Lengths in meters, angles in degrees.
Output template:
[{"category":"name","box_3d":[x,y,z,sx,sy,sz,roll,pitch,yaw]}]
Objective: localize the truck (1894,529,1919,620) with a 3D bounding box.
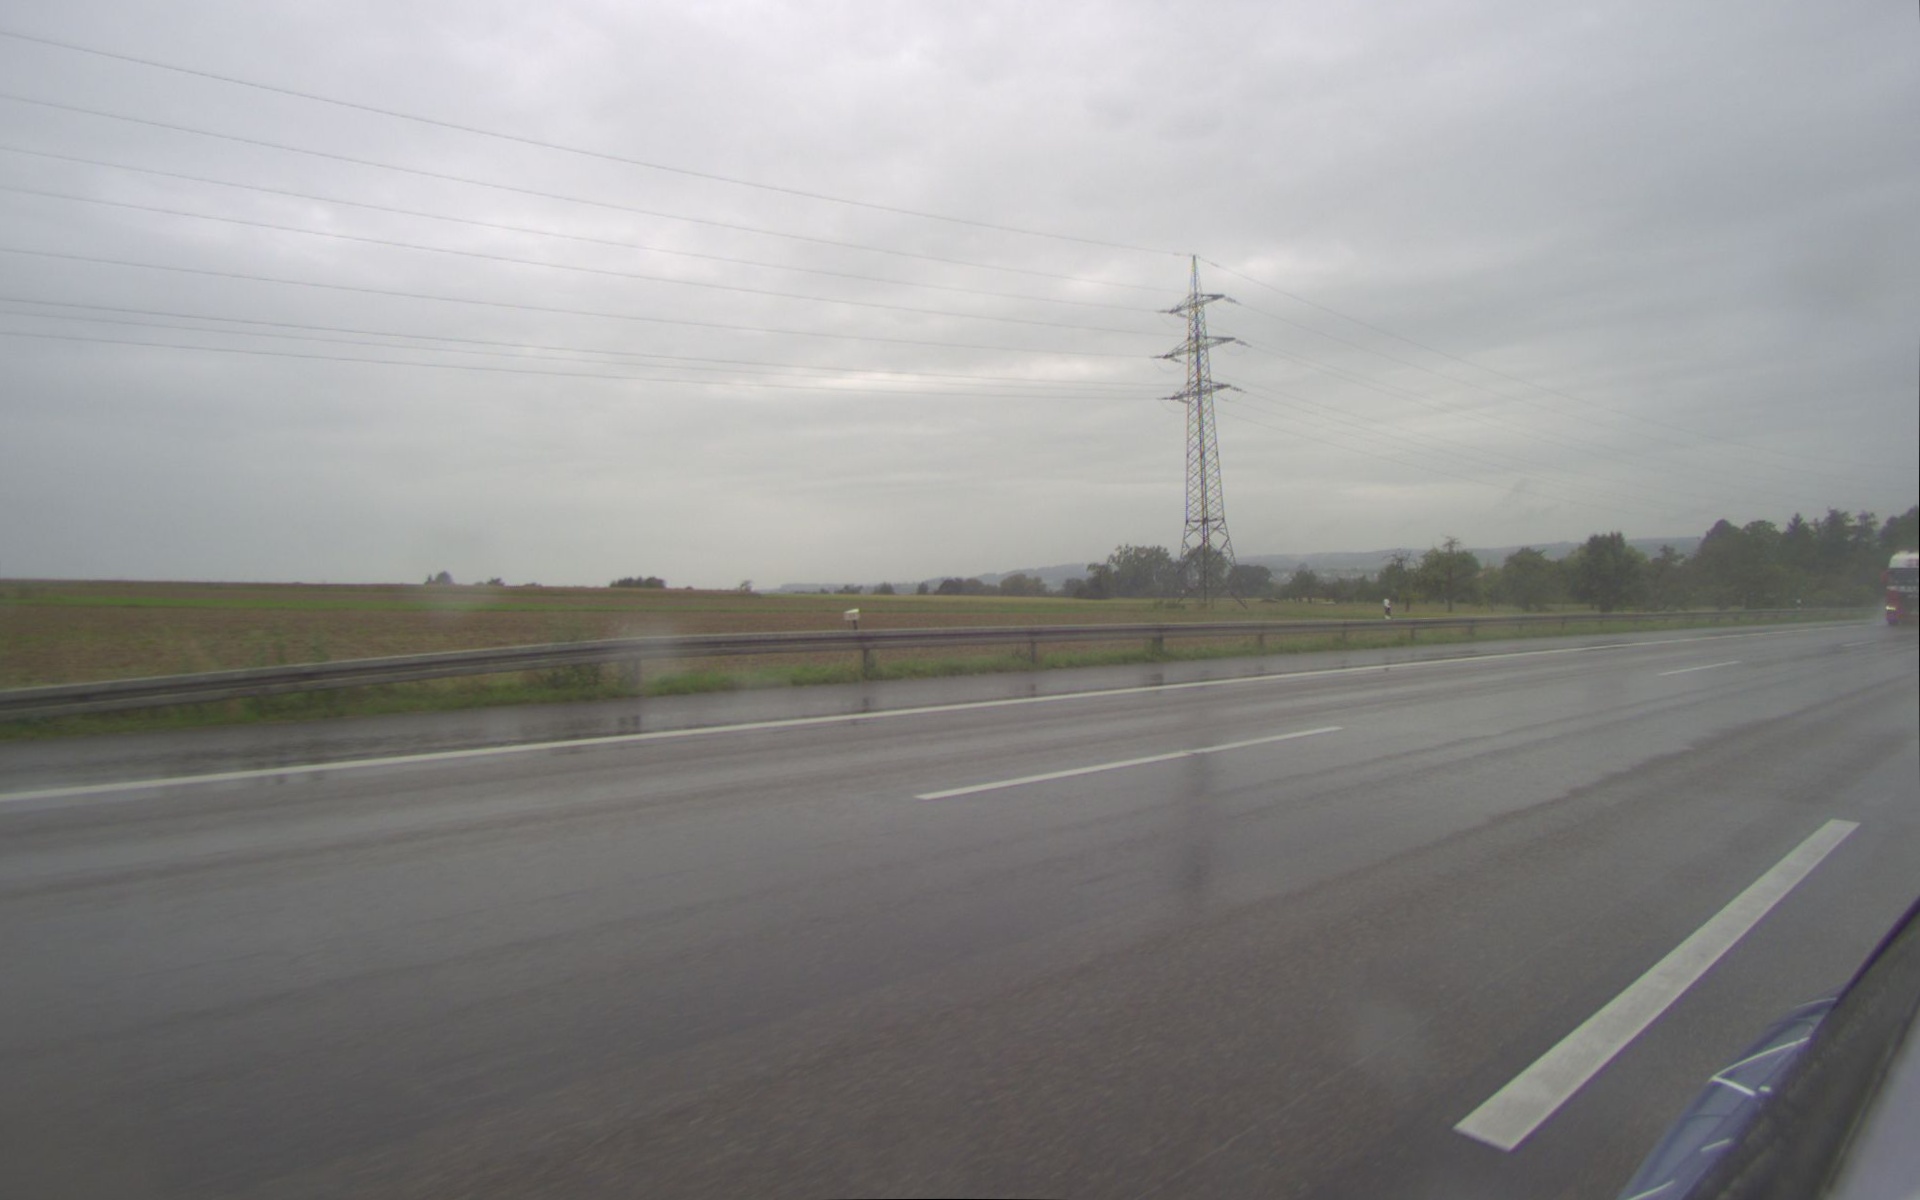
[{"category":"truck","box_3d":[54.429,-1.359,55.668,11.201,4.727,3.134,-1,1,-40]}]
